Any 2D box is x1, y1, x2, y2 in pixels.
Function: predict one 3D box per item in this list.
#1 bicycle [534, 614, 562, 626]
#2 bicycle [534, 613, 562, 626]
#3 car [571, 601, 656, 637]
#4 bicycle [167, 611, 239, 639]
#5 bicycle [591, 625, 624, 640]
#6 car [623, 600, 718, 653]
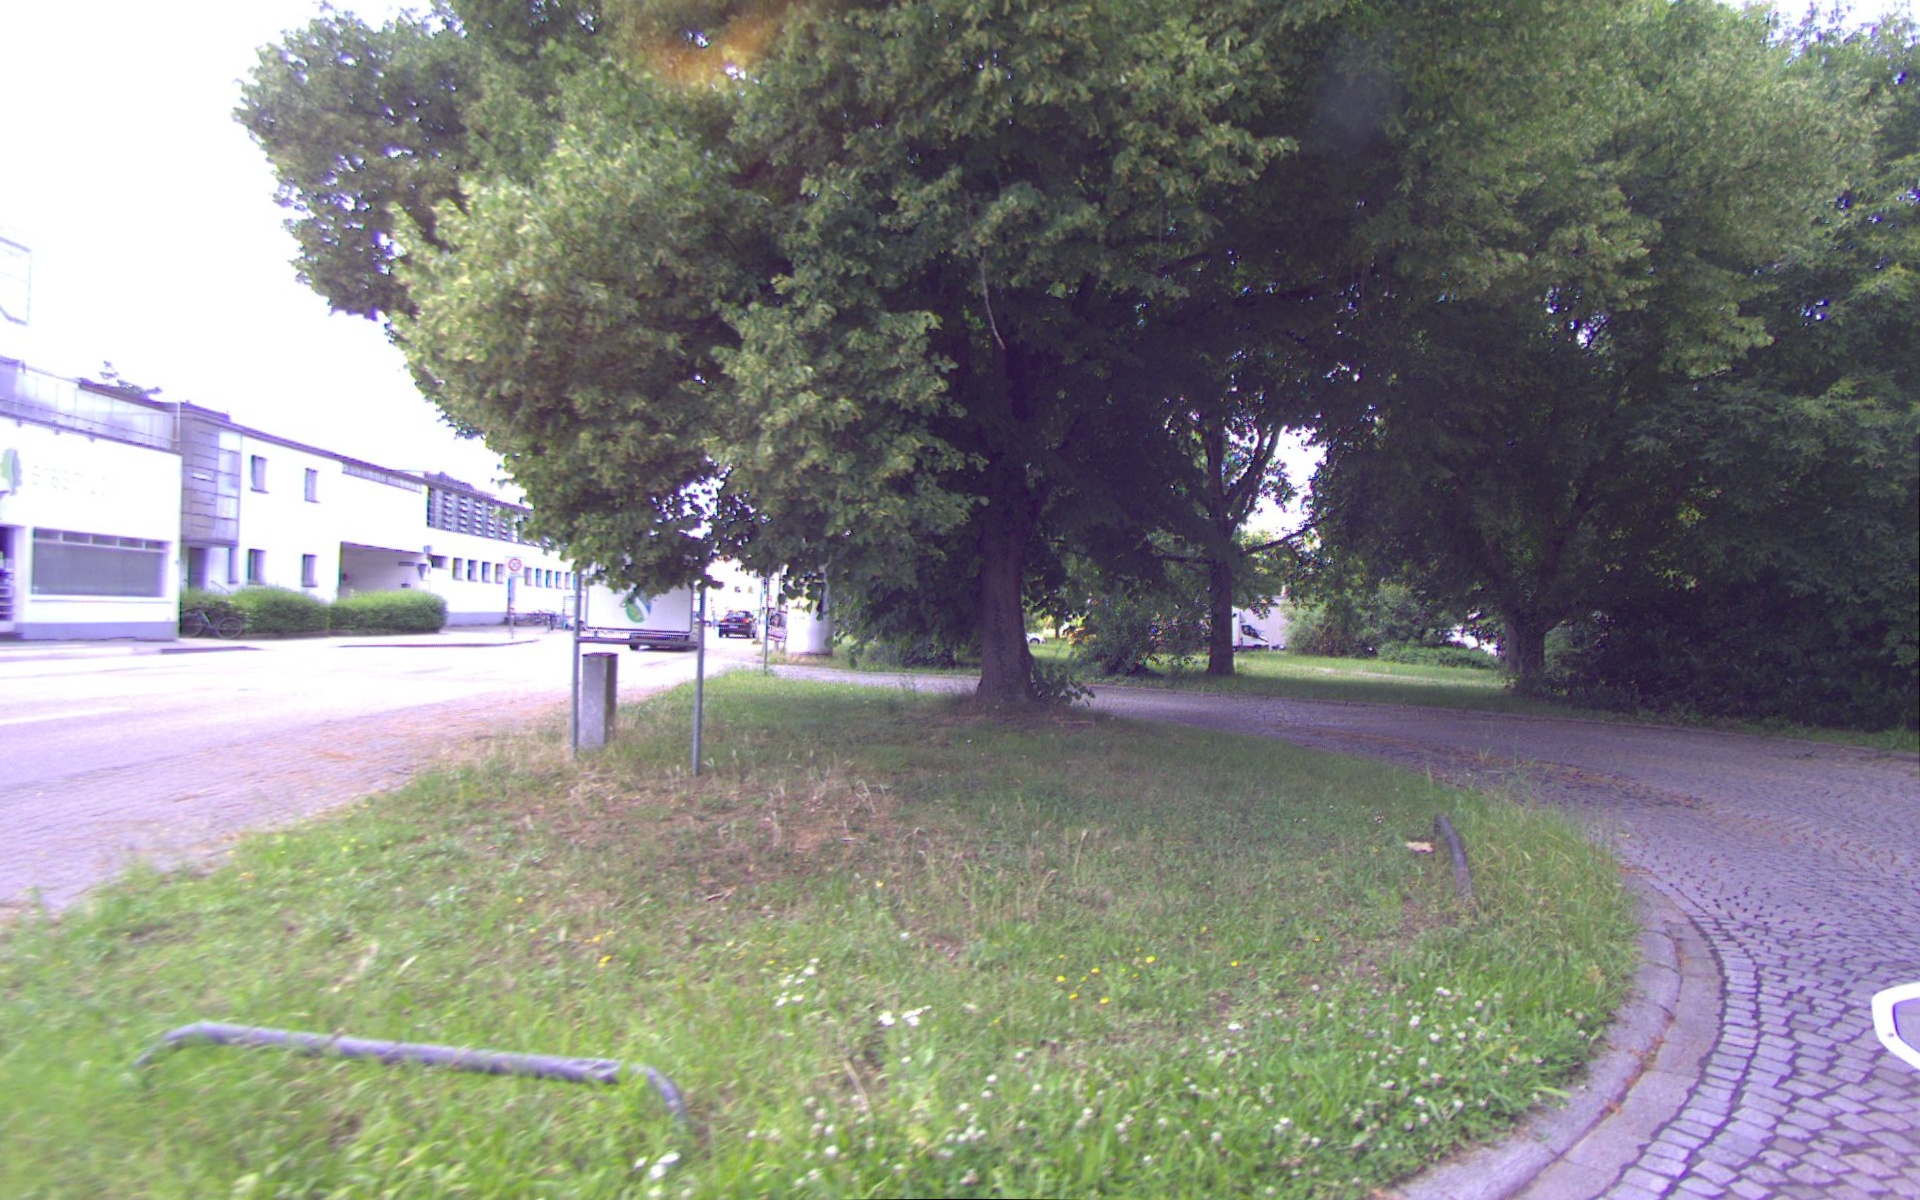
[{"bbox_3d":[-27.657,1.351,67.512,1.655,0.767,0.566,4,-2,-30],"label":"bicycle"},{"bbox_3d":[-27.978,1.344,68.231,1.655,0.767,0.566,4,-2,-30],"label":"bicycle"},{"bbox_3d":[-21.213,1.201,61.664,4.562,2.040,1.997,2,-2,-9],"label":"car"},{"bbox_3d":[-22.427,0.740,29.781,1.650,0.767,0.409,2,-1,-21],"label":"bicycle"},{"bbox_3d":[-20.115,1.873,57.319,1.645,0.767,0.569,3,-1,-9],"label":"bicycle"},{"bbox_3d":[-10.407,0.923,36.513,1.948,1.706,4.575,3,-1,2],"label":"car"}]
